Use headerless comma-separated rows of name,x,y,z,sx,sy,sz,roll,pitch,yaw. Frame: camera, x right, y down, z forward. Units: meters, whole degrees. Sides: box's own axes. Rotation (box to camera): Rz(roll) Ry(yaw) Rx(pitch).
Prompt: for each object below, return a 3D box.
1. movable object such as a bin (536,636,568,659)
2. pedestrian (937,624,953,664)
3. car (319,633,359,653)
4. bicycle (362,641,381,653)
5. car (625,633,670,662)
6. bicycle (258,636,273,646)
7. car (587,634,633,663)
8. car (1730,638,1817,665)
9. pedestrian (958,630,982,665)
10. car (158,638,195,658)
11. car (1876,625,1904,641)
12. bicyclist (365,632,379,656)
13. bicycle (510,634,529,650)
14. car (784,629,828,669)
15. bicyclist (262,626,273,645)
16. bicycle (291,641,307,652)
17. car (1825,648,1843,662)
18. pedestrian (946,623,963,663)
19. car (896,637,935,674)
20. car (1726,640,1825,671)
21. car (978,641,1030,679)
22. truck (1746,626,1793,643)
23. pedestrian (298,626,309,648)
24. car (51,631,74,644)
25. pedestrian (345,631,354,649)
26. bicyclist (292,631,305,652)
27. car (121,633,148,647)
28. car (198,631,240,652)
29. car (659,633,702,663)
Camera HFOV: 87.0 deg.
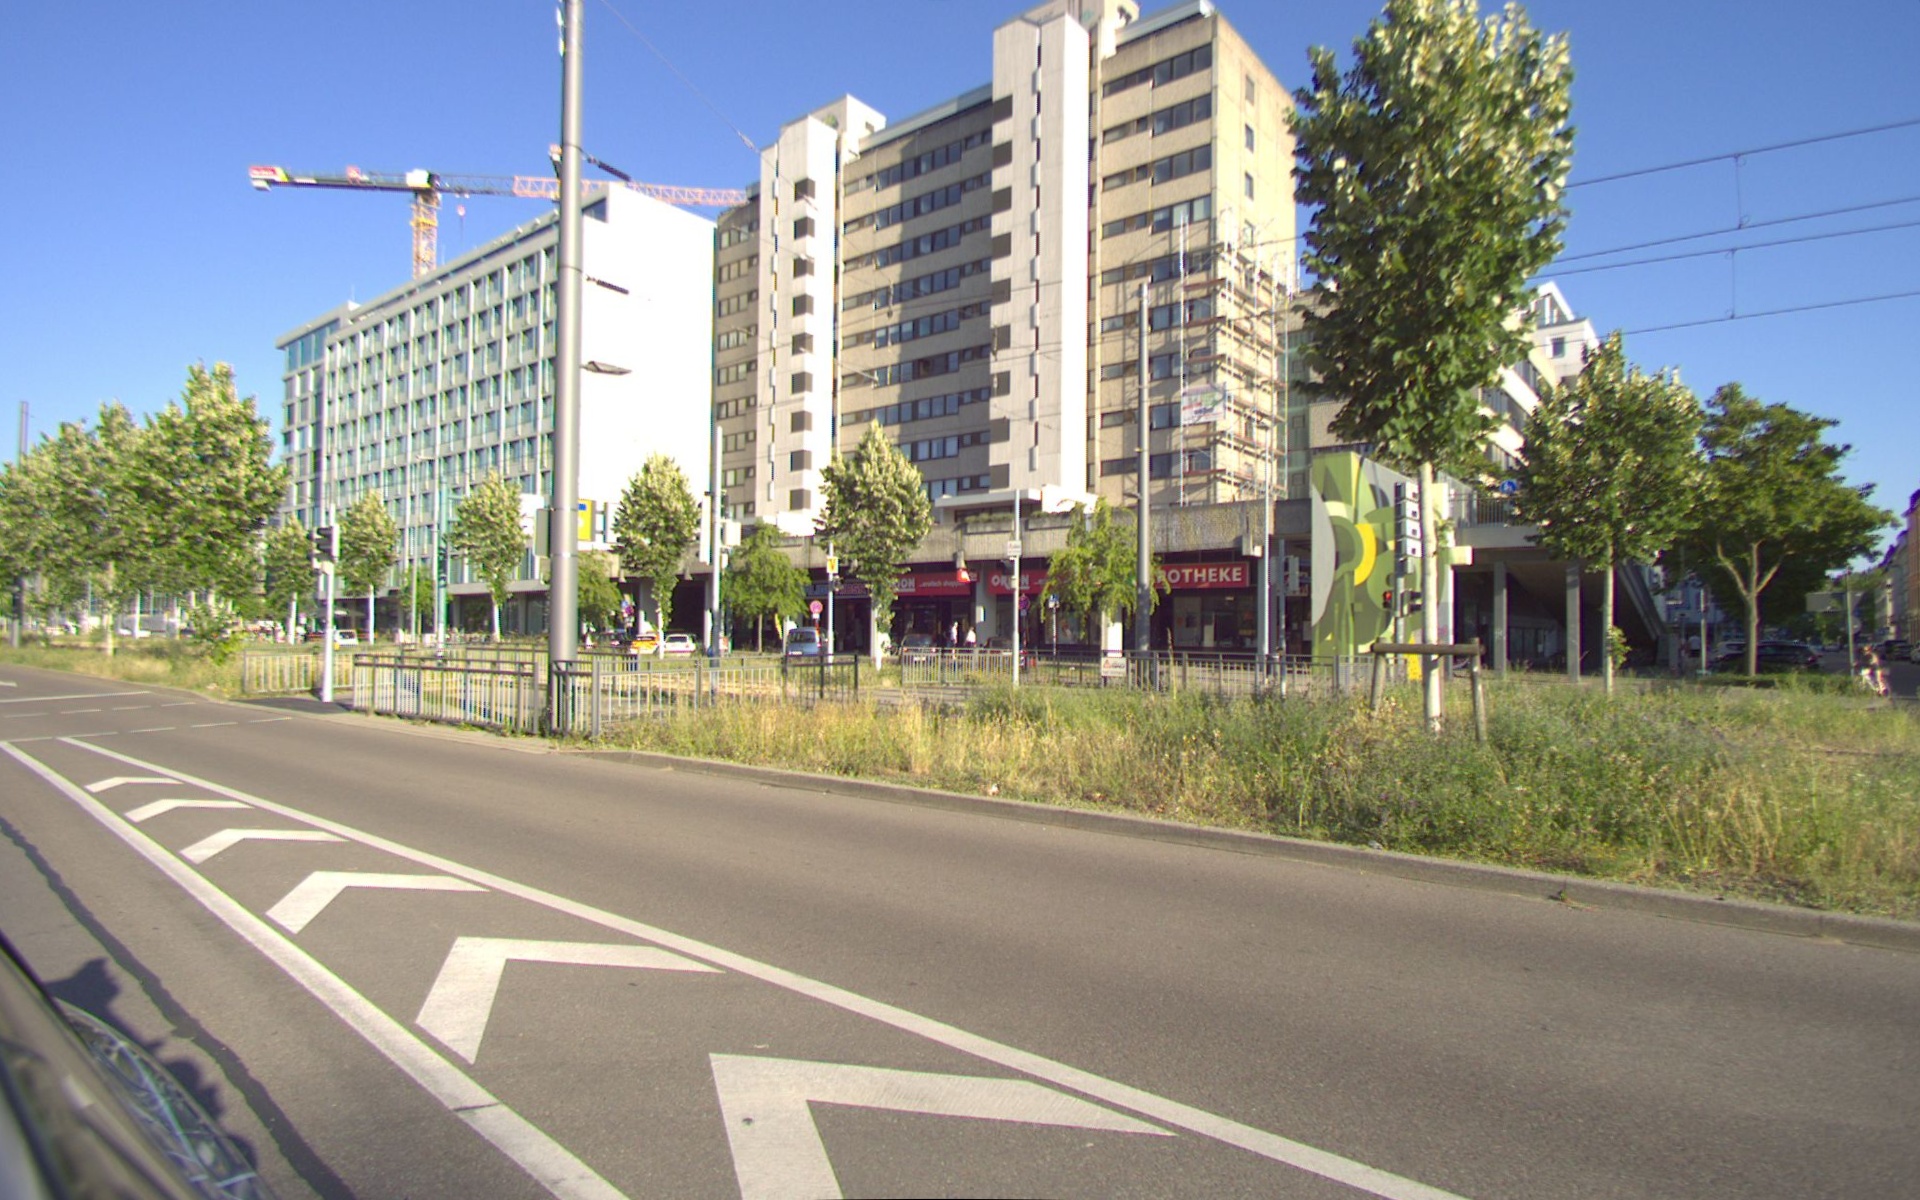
movable object such as a bin,-24.752,2.861,61.395,1.169,1.382,1.373,-1,-3,37
pedestrian,-0.785,2.284,52.357,0.653,2.029,0.542,-1,-3,38
car,-50.891,3.512,82.928,3.386,1.477,1.851,-1,0,39
bicycle,-42.537,3.399,73.145,2.099,0.869,0.432,-1,-3,38
car,-17.393,2.610,56.470,1.762,1.455,3.807,0,0,-6
bicycle,-59.712,3.518,86.994,2.099,0.869,0.432,-1,-3,38
car,-20.284,2.793,58.842,1.596,1.455,4.554,0,0,-7
car,49.050,3.101,61.095,3.997,1.524,1.973,-1,-2,40
pedestrian,0.481,2.268,48.537,0.881,1.652,0.767,-1,-2,38
car,-73.836,4.473,95.340,4.483,1.715,1.851,-1,0,39
car,96.774,3.455,105.333,1.820,1.618,3.836,-1,-2,38
bicyclist,-42.393,3.160,72.967,0.918,1.758,0.552,-1,-3,37
bicycle,-34.487,3.306,79.150,1.713,1.239,0.390,-1,-3,30
car,-7.336,2.312,48.440,1.597,1.703,4.198,0,0,-2
bicyclist,-59.369,3.057,86.794,0.918,1.669,0.532,-1,-3,40
bicycle,-54.241,3.828,83.070,2.099,0.869,0.432,-1,-3,38
car,139.354,8.767,161.339,1.997,2.029,3.948,-1,-2,38
pedestrian,-0.280,2.153,50.723,0.653,2.029,0.542,-1,-3,38
car,-2.009,2.424,44.913,1.596,1.413,3.470,0,0,-5
car,43.126,2.915,53.603,3.997,1.524,1.973,-1,-2,40
car,1.712,2.372,40.367,1.596,1.283,3.470,0,0,-5
truck,105.748,4.503,132.298,4.609,2.185,1.800,-1,-2,36
pedestrian,-61.431,3.482,94.681,0.725,2.029,0.614,-2,-3,39
car,-125.509,5.213,141.559,3.789,1.765,1.851,-1,0,39
pedestrian,-53.643,3.512,88.963,0.597,1.648,0.473,-2,-3,39
bicyclist,-54.233,3.394,82.968,0.918,1.669,0.532,-1,-3,37
car,-92.221,4.432,113.086,3.875,1.388,1.593,-1,0,39
car,-63.629,3.552,86.884,4.634,1.600,1.851,-1,0,39
car,-15.101,2.559,54.856,1.596,1.455,3.797,0,0,-5
